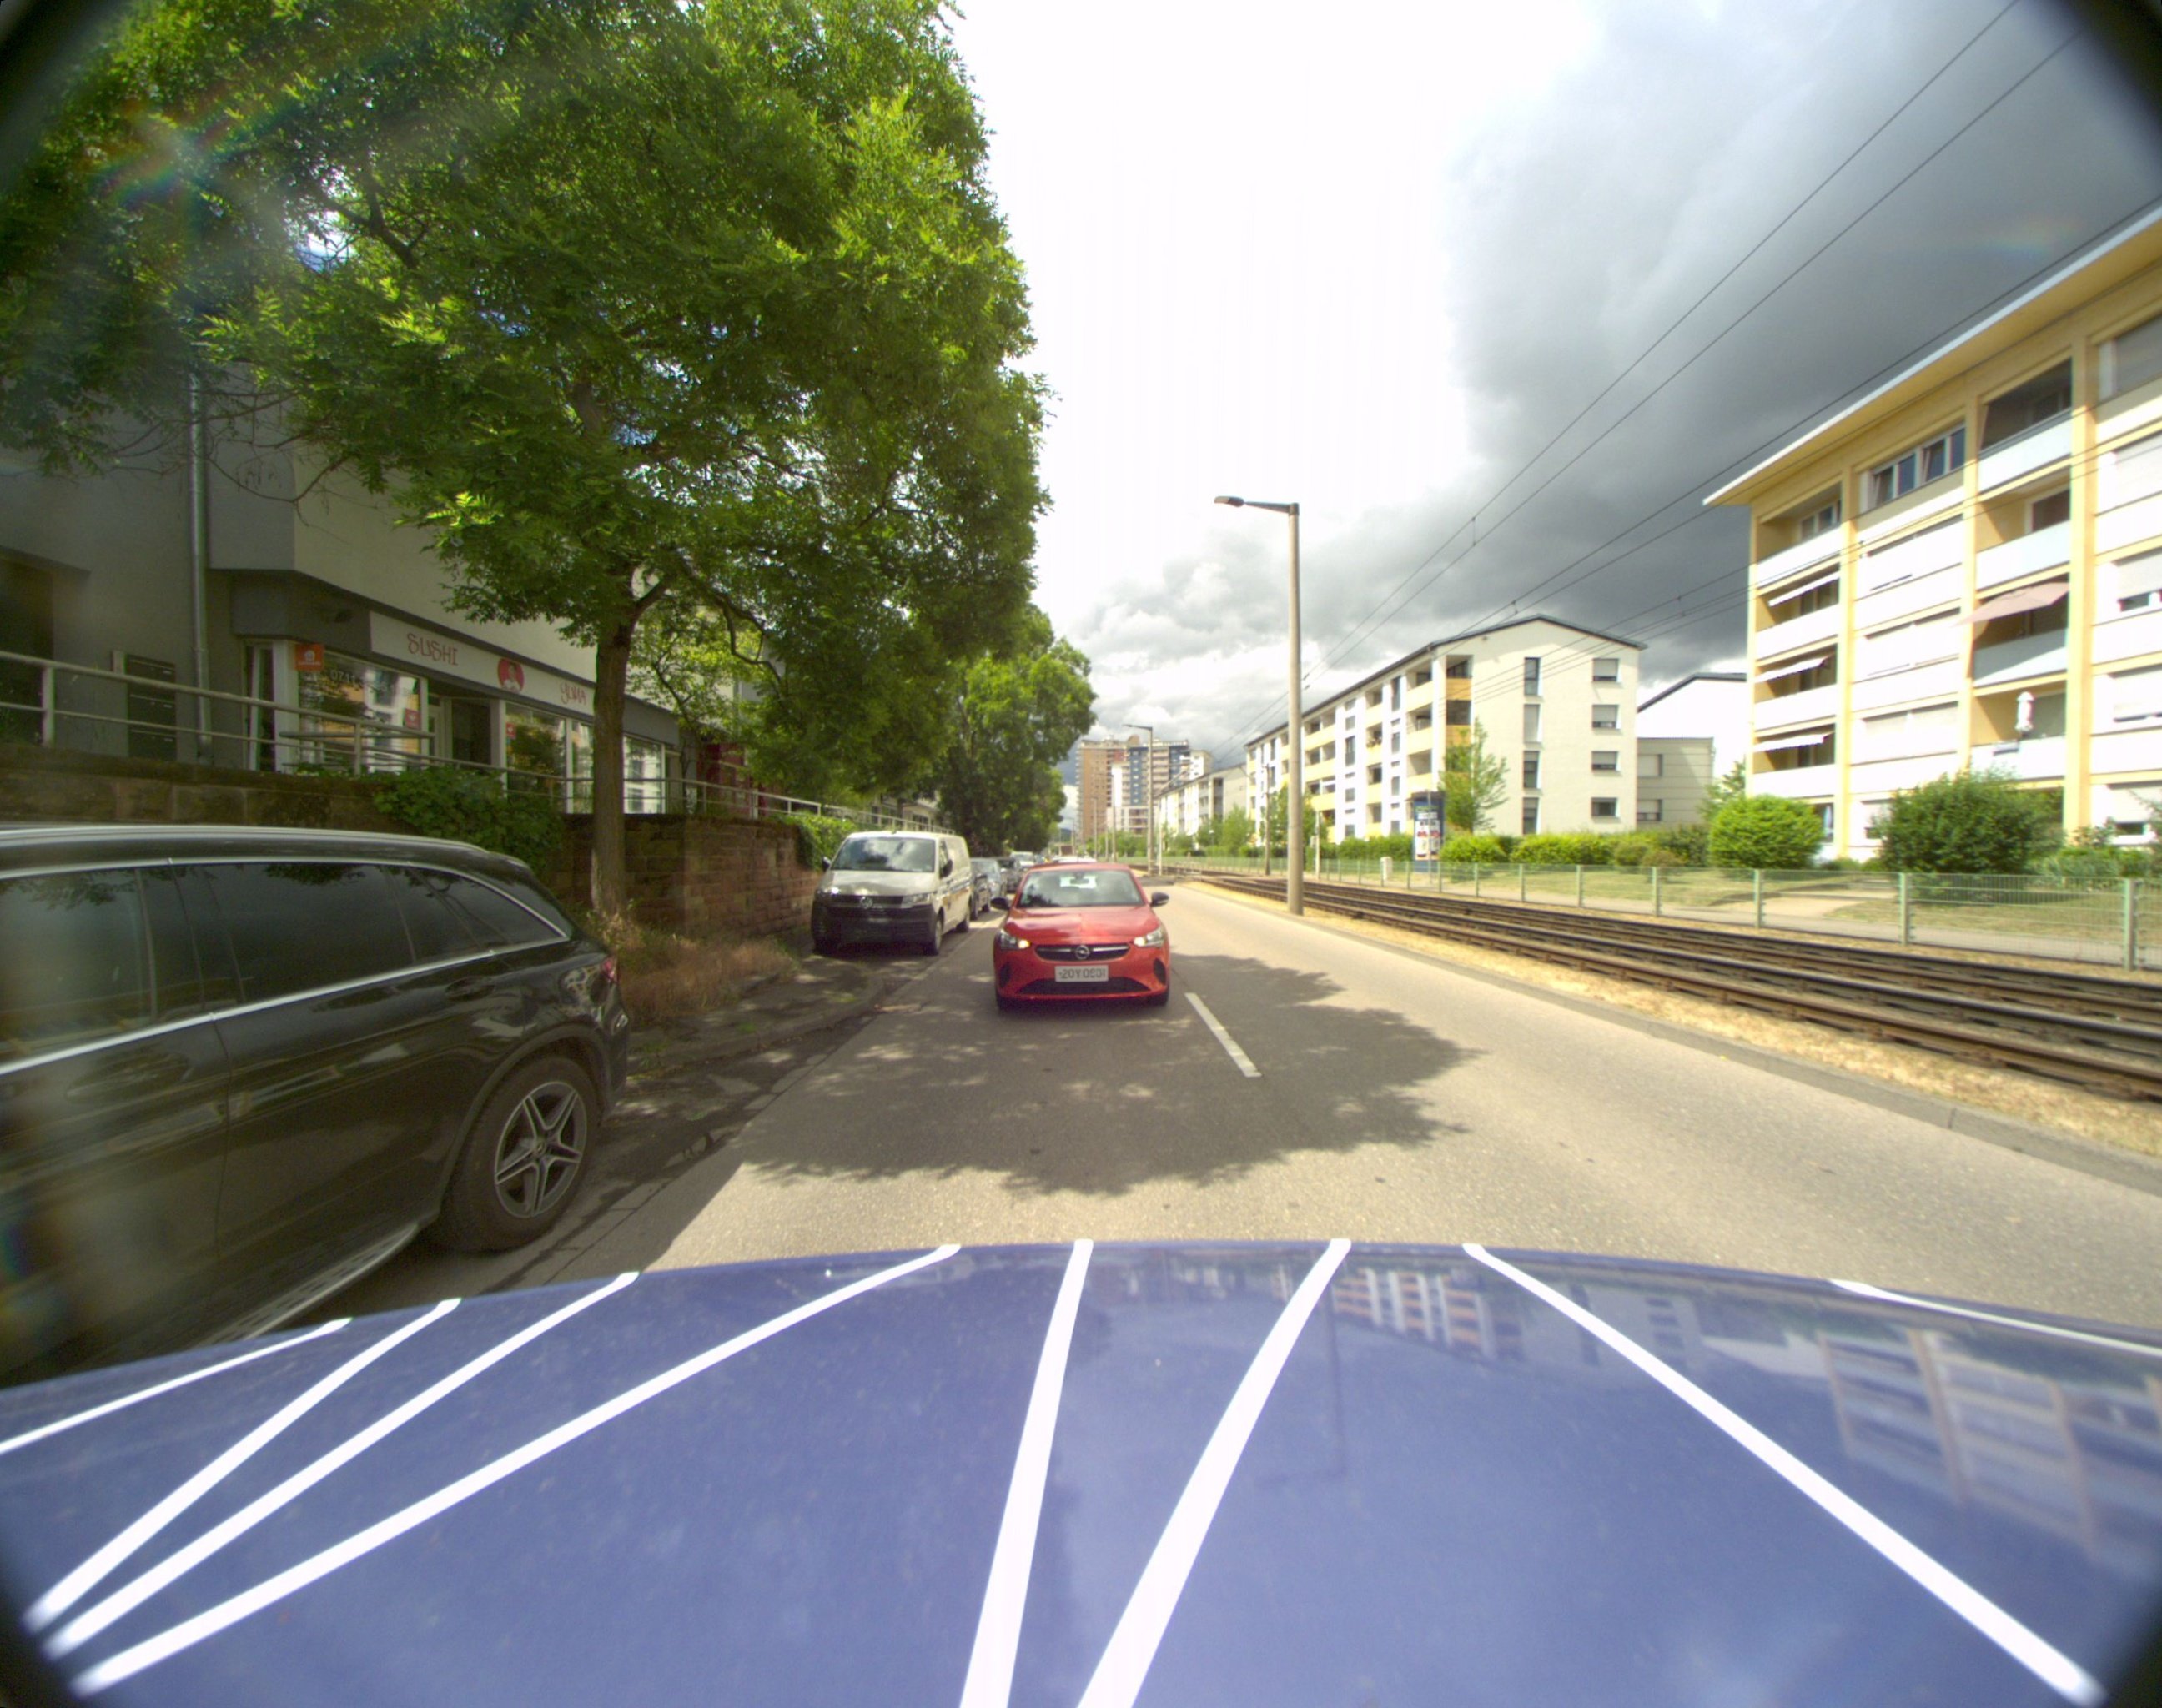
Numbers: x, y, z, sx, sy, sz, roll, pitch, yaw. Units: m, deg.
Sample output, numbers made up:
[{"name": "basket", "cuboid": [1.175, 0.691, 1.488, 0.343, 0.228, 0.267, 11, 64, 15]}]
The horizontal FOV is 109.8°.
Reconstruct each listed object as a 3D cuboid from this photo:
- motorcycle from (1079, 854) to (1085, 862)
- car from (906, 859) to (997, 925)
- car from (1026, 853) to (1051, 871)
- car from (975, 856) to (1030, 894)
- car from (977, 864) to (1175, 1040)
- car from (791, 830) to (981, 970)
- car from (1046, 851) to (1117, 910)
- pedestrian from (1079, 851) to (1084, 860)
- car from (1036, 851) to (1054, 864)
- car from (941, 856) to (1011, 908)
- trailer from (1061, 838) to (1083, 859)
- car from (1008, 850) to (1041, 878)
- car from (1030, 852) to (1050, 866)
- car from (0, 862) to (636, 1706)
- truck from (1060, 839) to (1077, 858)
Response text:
[{"name": "motorcycle", "cuboid": [0.099, 0.601, 113.459, 0.783, 1.181, 1.869, -1, 1, -1]}, {"name": "car", "cuboid": [-3.124, 0.876, 18.942, 1.578, 1.420, 3.734, -1, 0, 0]}, {"name": "car", "cuboid": [-3.547, 0.634, 63.445, 1.784, 1.420, 4.147, -1, 0, 0]}, {"name": "car", "cuboid": [-3.157, 0.810, 31.216, 1.784, 1.420, 4.147, -1, 0, 0]}, {"name": "car", "cuboid": [-0.003, 0.889, 8.649, 1.723, 1.434, 4.000, -1, 0, 1]}, {"name": "car", "cuboid": [-3.096, 0.640, 13.305, 1.978, 1.958, 5.012, -1, 0, 0]}, {"name": "car", "cuboid": [-0.026, 0.729, 23.101, 1.927, 1.543, 3.999, -2, 1, -1]}, {"name": "pedestrian", "cuboid": [0.085, 0.215, 113.486, 0.737, 1.408, 0.927, -2, 1, -1]}, {"name": "car", "cuboid": [-4.128, 0.413, 87.782, 1.784, 1.420, 4.147, -1, 0, 0]}, {"name": "car", "cuboid": [-3.246, 0.827, 24.188, 1.785, 1.420, 4.144, 2, 0, -2]}, {"name": "trailer", "cuboid": [-1.749, -1.034, 135.771, 2.876, 3.429, 14.609, -3, 0, -4]}, {"name": "car", "cuboid": [-3.422, 0.575, 46.638, 1.819, 1.644, 4.146, -1, 0, -2]}, {"name": "car", "cuboid": [-4.311, 0.544, 80.506, 1.784, 1.420, 4.147, -1, 0, 0]}, {"name": "car", "cuboid": [-3.043, 0.882, 1.423, 1.794, 1.608, 4.447, 1, 1, 0]}, {"name": "truck", "cuboid": [-2.347, -1.081, 143.936, 2.853, 3.429, 4.413, -3, 1, -5]}]
